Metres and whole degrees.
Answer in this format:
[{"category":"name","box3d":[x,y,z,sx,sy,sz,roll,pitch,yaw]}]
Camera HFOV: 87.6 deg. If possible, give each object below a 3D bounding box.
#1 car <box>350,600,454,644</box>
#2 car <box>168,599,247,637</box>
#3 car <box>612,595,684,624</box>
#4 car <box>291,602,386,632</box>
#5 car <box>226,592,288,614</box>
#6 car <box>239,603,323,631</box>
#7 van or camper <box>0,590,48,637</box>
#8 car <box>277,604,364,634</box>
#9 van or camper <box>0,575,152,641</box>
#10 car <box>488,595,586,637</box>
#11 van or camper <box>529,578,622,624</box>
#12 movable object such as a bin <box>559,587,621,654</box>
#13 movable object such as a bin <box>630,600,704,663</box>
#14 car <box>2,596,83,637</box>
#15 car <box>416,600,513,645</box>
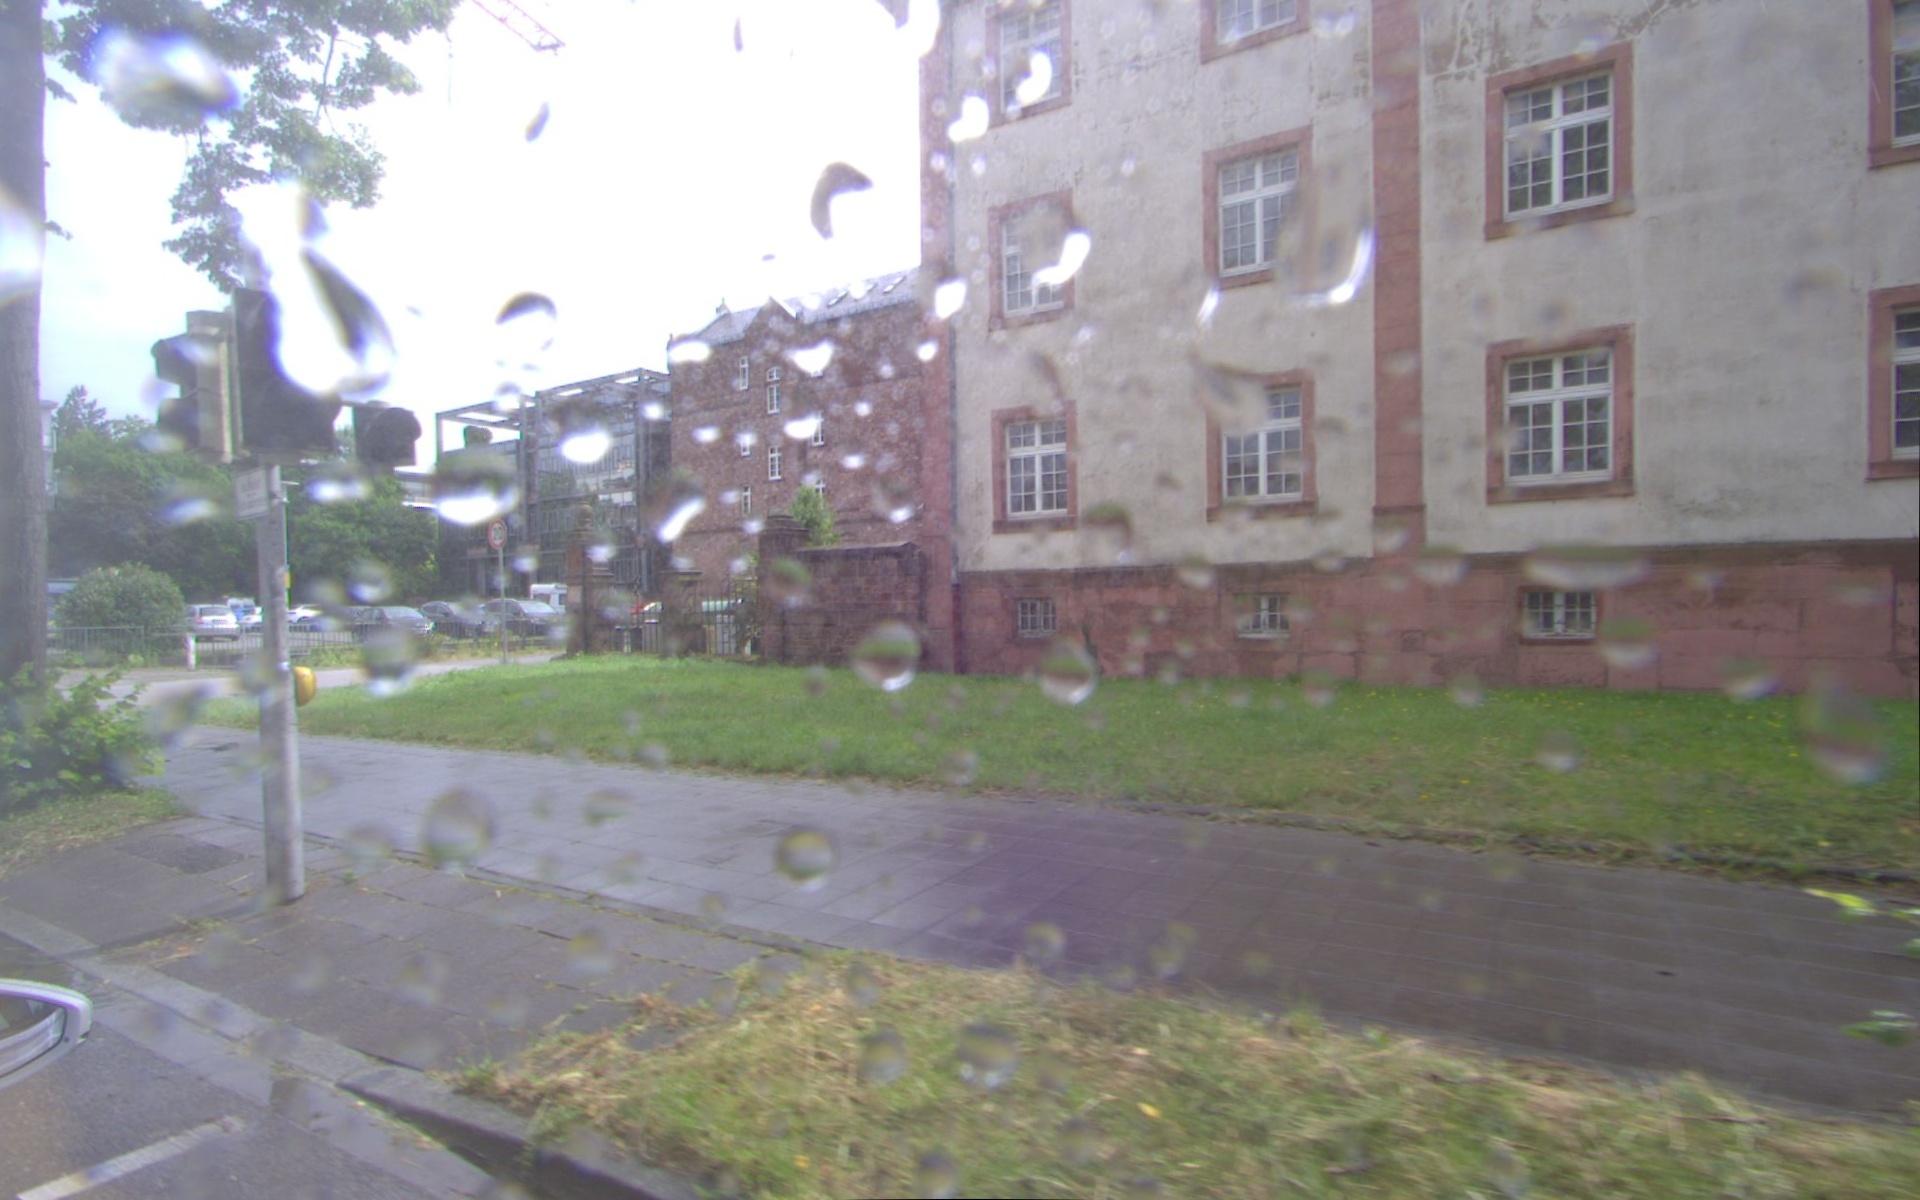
[{"category":"car","box3d":[-21.148,0.819,37.909,4.367,1.547,1.822,-1,1,38]},{"category":"car","box3d":[-31.870,0.766,42.393,3.669,1.506,1.643,-1,1,36]},{"category":"car","box3d":[-17.773,0.566,57.151,1.649,1.505,3.659,-1,-3,34]},{"category":"car","box3d":[-33.002,0.875,53.267,1.649,1.485,3.963,-1,1,34]},{"category":"car","box3d":[-49.330,0.210,70.273,1.489,1.416,3.214,-1,1,36]},{"category":"car","box3d":[-38.946,0.972,57.513,1.618,1.506,3.654,-1,1,36]},{"category":"van or camper","box3d":[-46.007,0.637,46.730,2.291,2.160,4.744,0,0,36]},{"category":"car","box3d":[-34.750,1.030,54.459,1.618,1.506,3.654,-1,1,36]},{"category":"van or camper","box3d":[-37.167,0.329,41.754,2.145,2.587,4.986,-2,-1,34]},{"category":"car","box3d":[-18.239,0.693,43.148,4.363,1.701,1.847,-1,1,35]},{"category":"van or camper","box3d":[-22.536,0.138,58.897,2.226,2.518,4.778,-2,-2,32]},{"category":"movable object such as a bin","box3d":[-8.413,0.454,22.771,1.082,1.477,0.797,0,2,34]},{"category":"movable object such as a bin","box3d":[-7.282,0.772,24.894,1.371,1.477,1.103,0,2,34]},{"category":"car","box3d":[-35.133,0.617,38.337,3.371,1.468,1.605,-1,1,35]},{"category":"car","box3d":[-20.194,0.891,40.752,4.369,1.701,1.845,-1,1,39]}]
